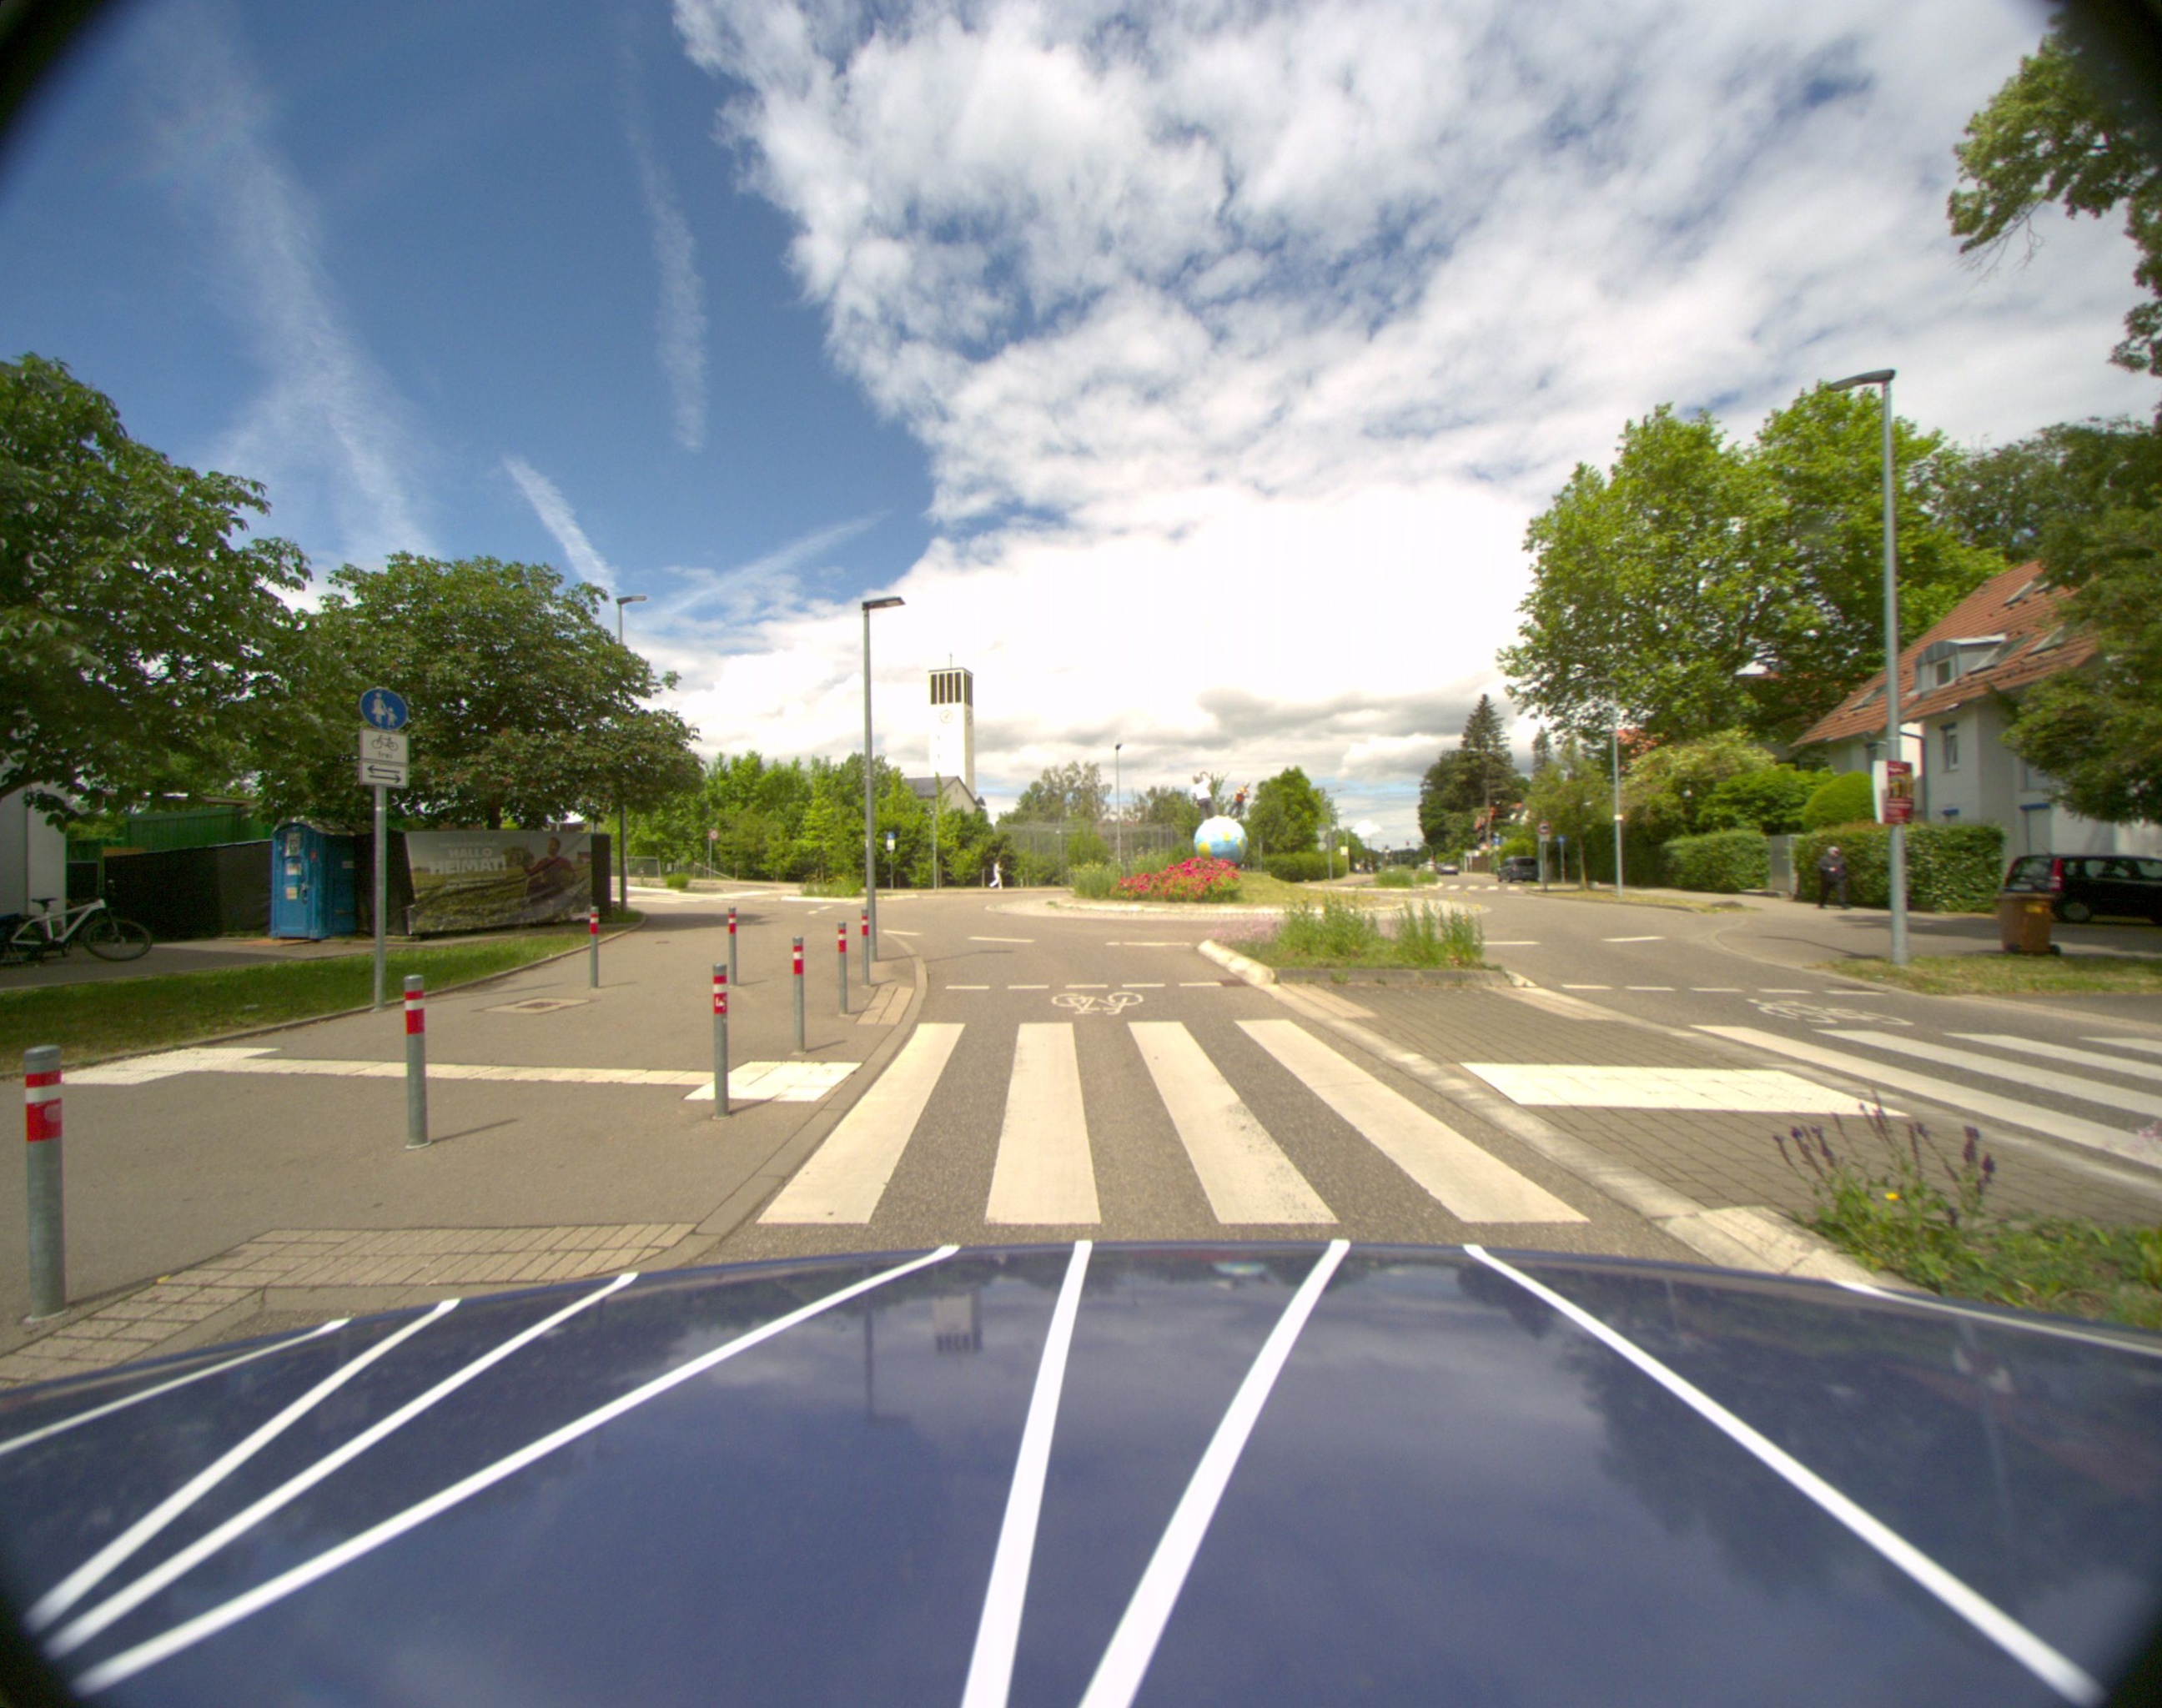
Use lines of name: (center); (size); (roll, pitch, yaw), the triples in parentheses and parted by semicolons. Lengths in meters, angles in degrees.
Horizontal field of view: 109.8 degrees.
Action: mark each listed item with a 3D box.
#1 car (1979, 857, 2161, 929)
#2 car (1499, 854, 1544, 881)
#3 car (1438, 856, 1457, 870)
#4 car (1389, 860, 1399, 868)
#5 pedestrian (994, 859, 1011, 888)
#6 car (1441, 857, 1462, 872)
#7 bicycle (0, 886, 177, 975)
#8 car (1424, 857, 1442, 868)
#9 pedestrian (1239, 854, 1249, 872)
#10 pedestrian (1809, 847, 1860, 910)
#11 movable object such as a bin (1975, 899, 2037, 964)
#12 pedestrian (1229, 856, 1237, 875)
car: (22.293, 0.823, 16.258); (3.570, 1.389, 1.668); (2, 1, 22)
car: (29.070, 0.860, 50.270); (1.678, 1.652, 4.005); (-1, 0, 17)
car: (44.416, 1.130, 92.134); (1.784, 1.568, 4.006); (-2, 0, 22)
car: (68.061, 2.252, 165.429); (1.995, 1.696, 4.006); (0, 0, 22)
pedestrian: (-4.298, 1.057, 41.634); (0.457, 1.524, 0.965); (-2, -1, 28)
car: (42.426, 1.155, 87.072); (1.859, 1.568, 4.006); (-2, 0, 22)
bicycle: (-15.366, 1.159, 11.689); (1.773, 1.227, 0.714); (-2, 0, -13)
car: (53.748, 1.305, 116.112); (1.996, 1.696, 4.005); (0, 0, 16)
pedestrian: (14.543, 0.811, 67.786); (0.763, 1.548, 0.602); (0, 0, 6)
pedestrian: (20.648, 0.662, 20.830); (0.744, 1.681, 0.695); (-2, 0, 23)
movable object such as a bin: (13.862, 1.158, 11.394); (0.441, 0.929, 0.412); (0, 0, -7)
pedestrian: (13.564, 1.055, 67.701); (0.607, 1.687, 0.567); (-1, 0, 8)
